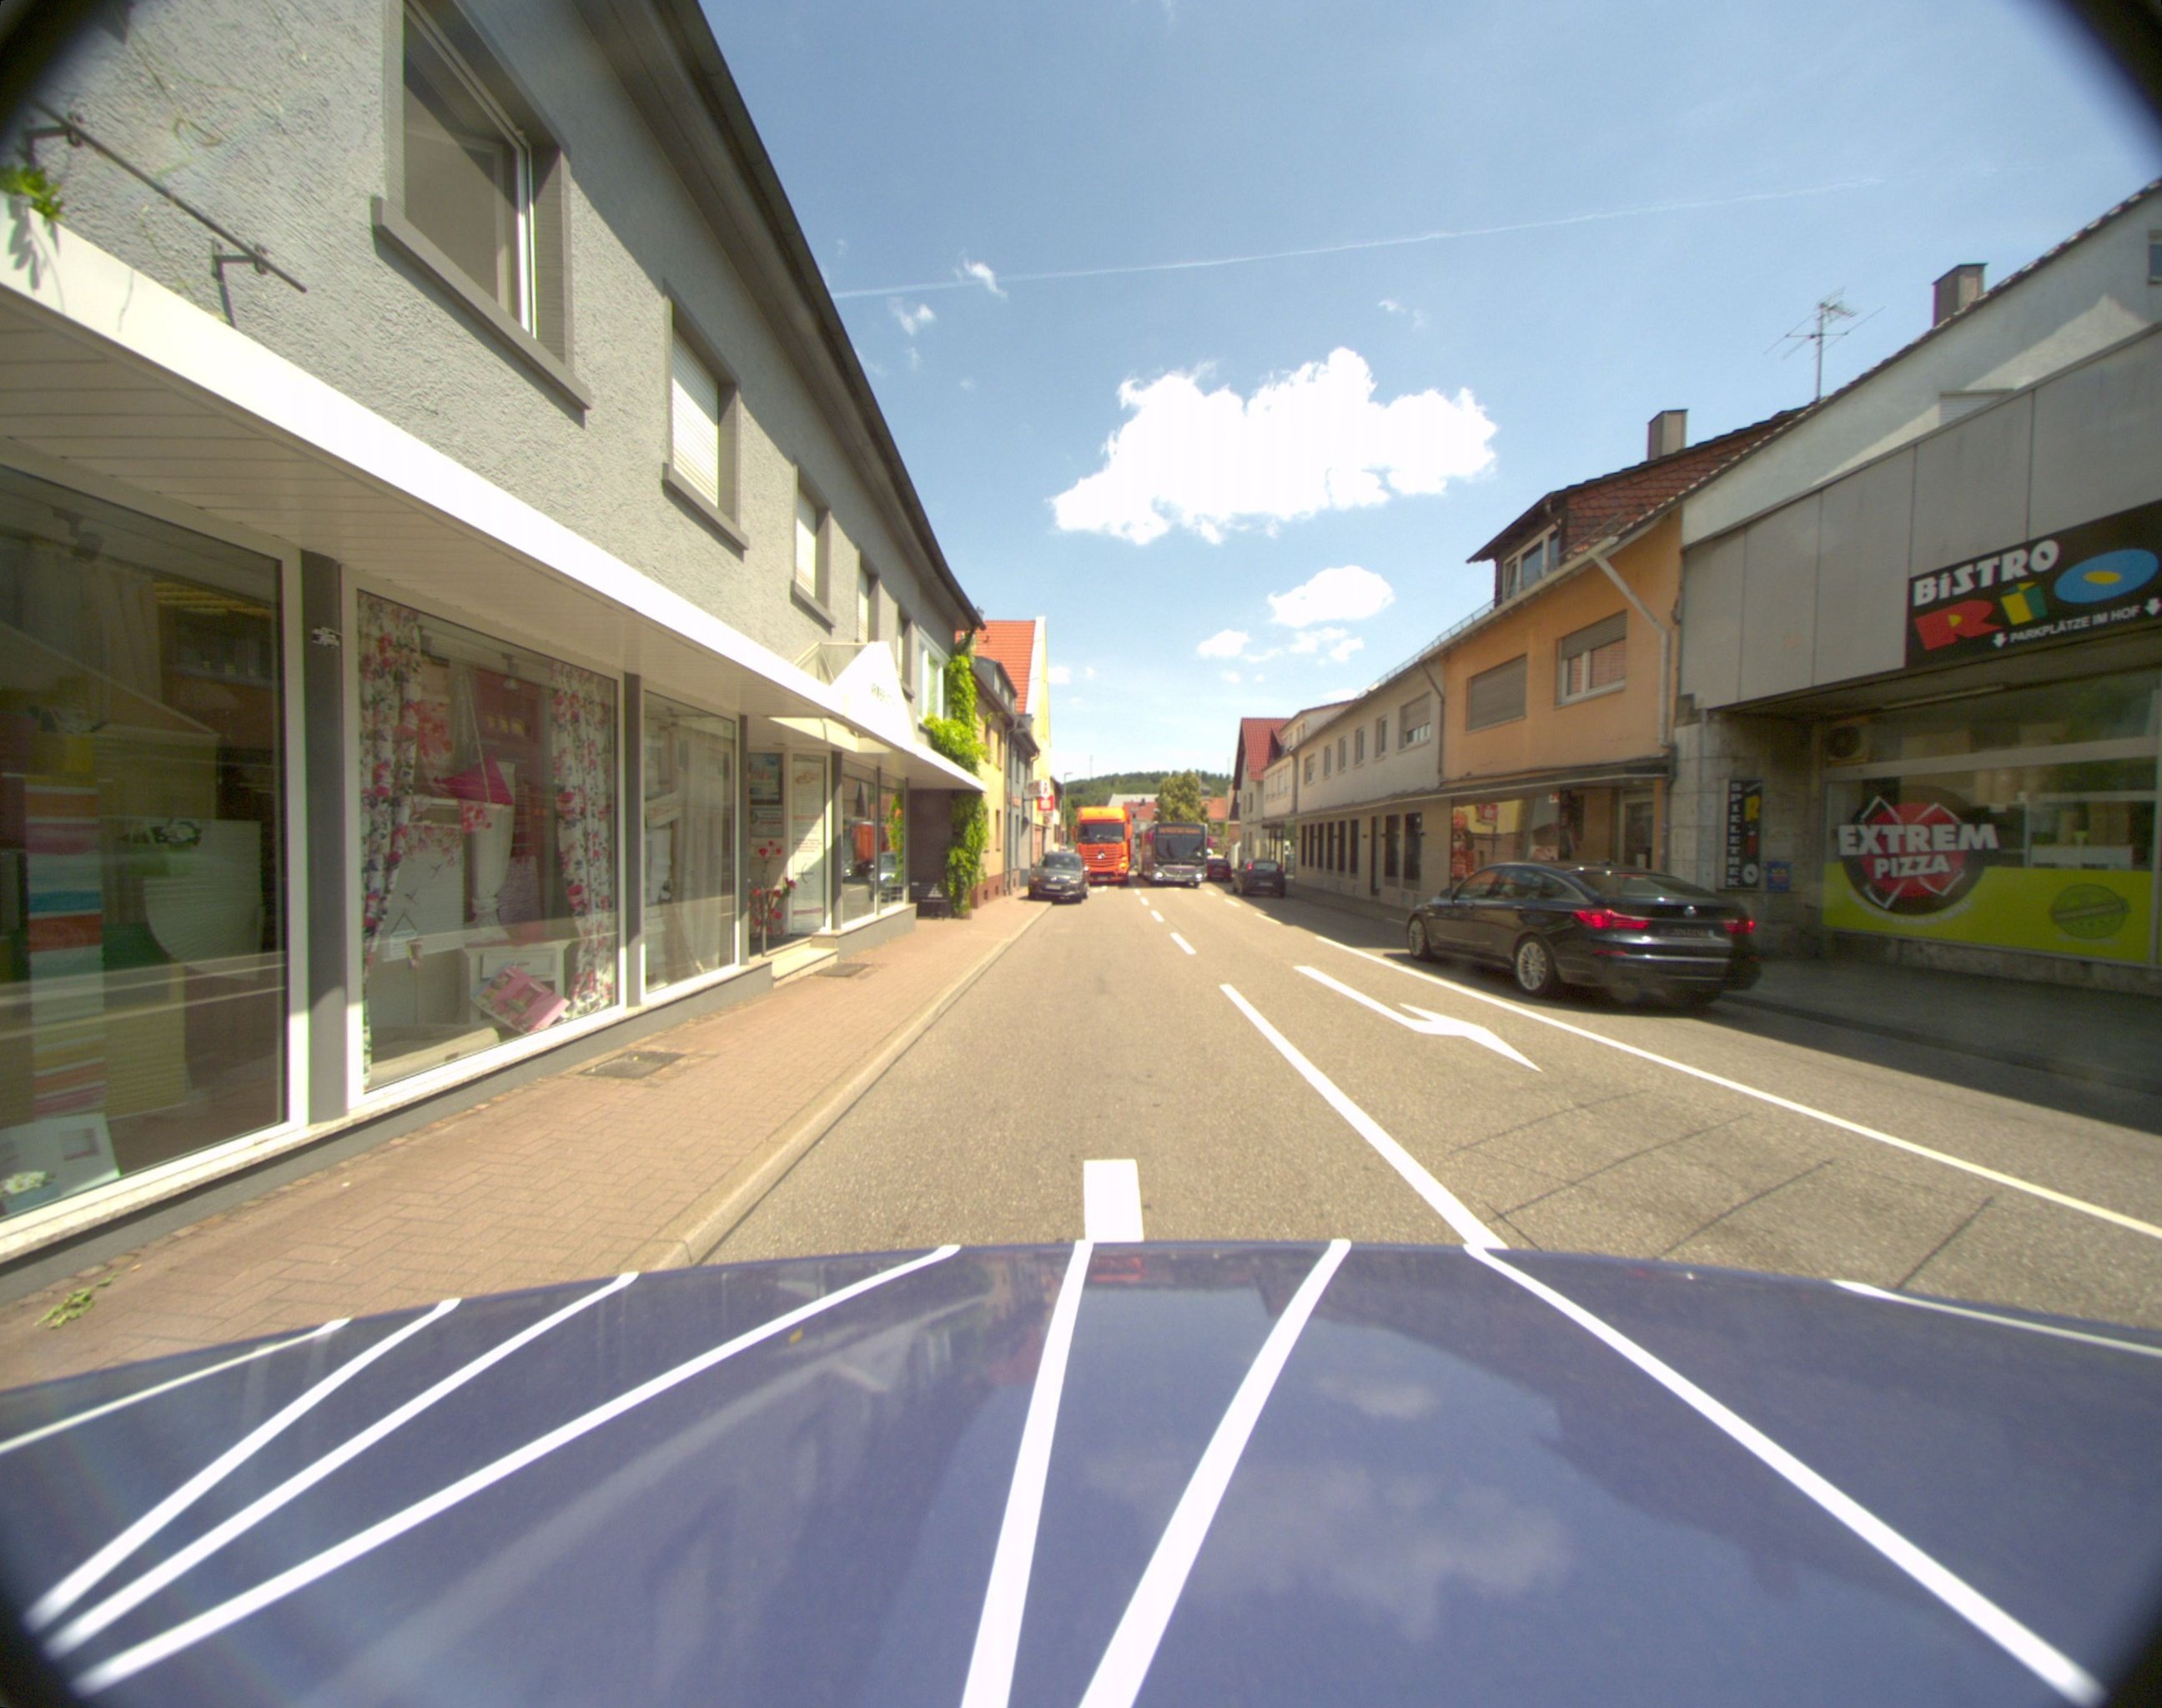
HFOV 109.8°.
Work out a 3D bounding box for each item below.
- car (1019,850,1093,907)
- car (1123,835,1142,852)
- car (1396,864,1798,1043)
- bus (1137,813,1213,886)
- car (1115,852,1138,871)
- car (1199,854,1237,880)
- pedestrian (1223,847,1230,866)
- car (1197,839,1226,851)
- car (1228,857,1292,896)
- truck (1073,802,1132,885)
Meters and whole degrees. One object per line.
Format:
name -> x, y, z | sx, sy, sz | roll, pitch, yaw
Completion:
car -> -0.773, 0.755, 26.256 | 1.998, 1.699, 4.102 | 3, 1, 5
car -> 6.121, -1.204, 90.341 | 1.998, 1.868, 4.323 | -2, -1, 1
car -> 5.871, 0.973, 9.589 | 1.801, 1.478, 4.796 | 3, 1, 1
bus -> 4.841, -0.218, 42.934 | 2.858, 3.186, 19.036 | 0, 0, 3
car -> 3.700, 0.571, 61.653 | 1.721, 1.400, 4.286 | 3, 0, 4
car -> 8.169, 0.766, 45.634 | 1.721, 1.400, 4.286 | 3, 0, 4
pedestrian -> 13.897, 0.220, 72.483 | 0.471, 1.754, 0.478 | 0, 2, -18
car -> 21.188, -1.510, 123.374 | 4.443, 1.932, 1.975 | -1, 0, -30
car -> 7.095, 0.863, 30.402 | 1.721, 1.414, 3.821 | 2, 0, 2
truck -> 1.360, -0.492, 41.665 | 2.614, 3.922, 9.995 | -2, 0, 4
